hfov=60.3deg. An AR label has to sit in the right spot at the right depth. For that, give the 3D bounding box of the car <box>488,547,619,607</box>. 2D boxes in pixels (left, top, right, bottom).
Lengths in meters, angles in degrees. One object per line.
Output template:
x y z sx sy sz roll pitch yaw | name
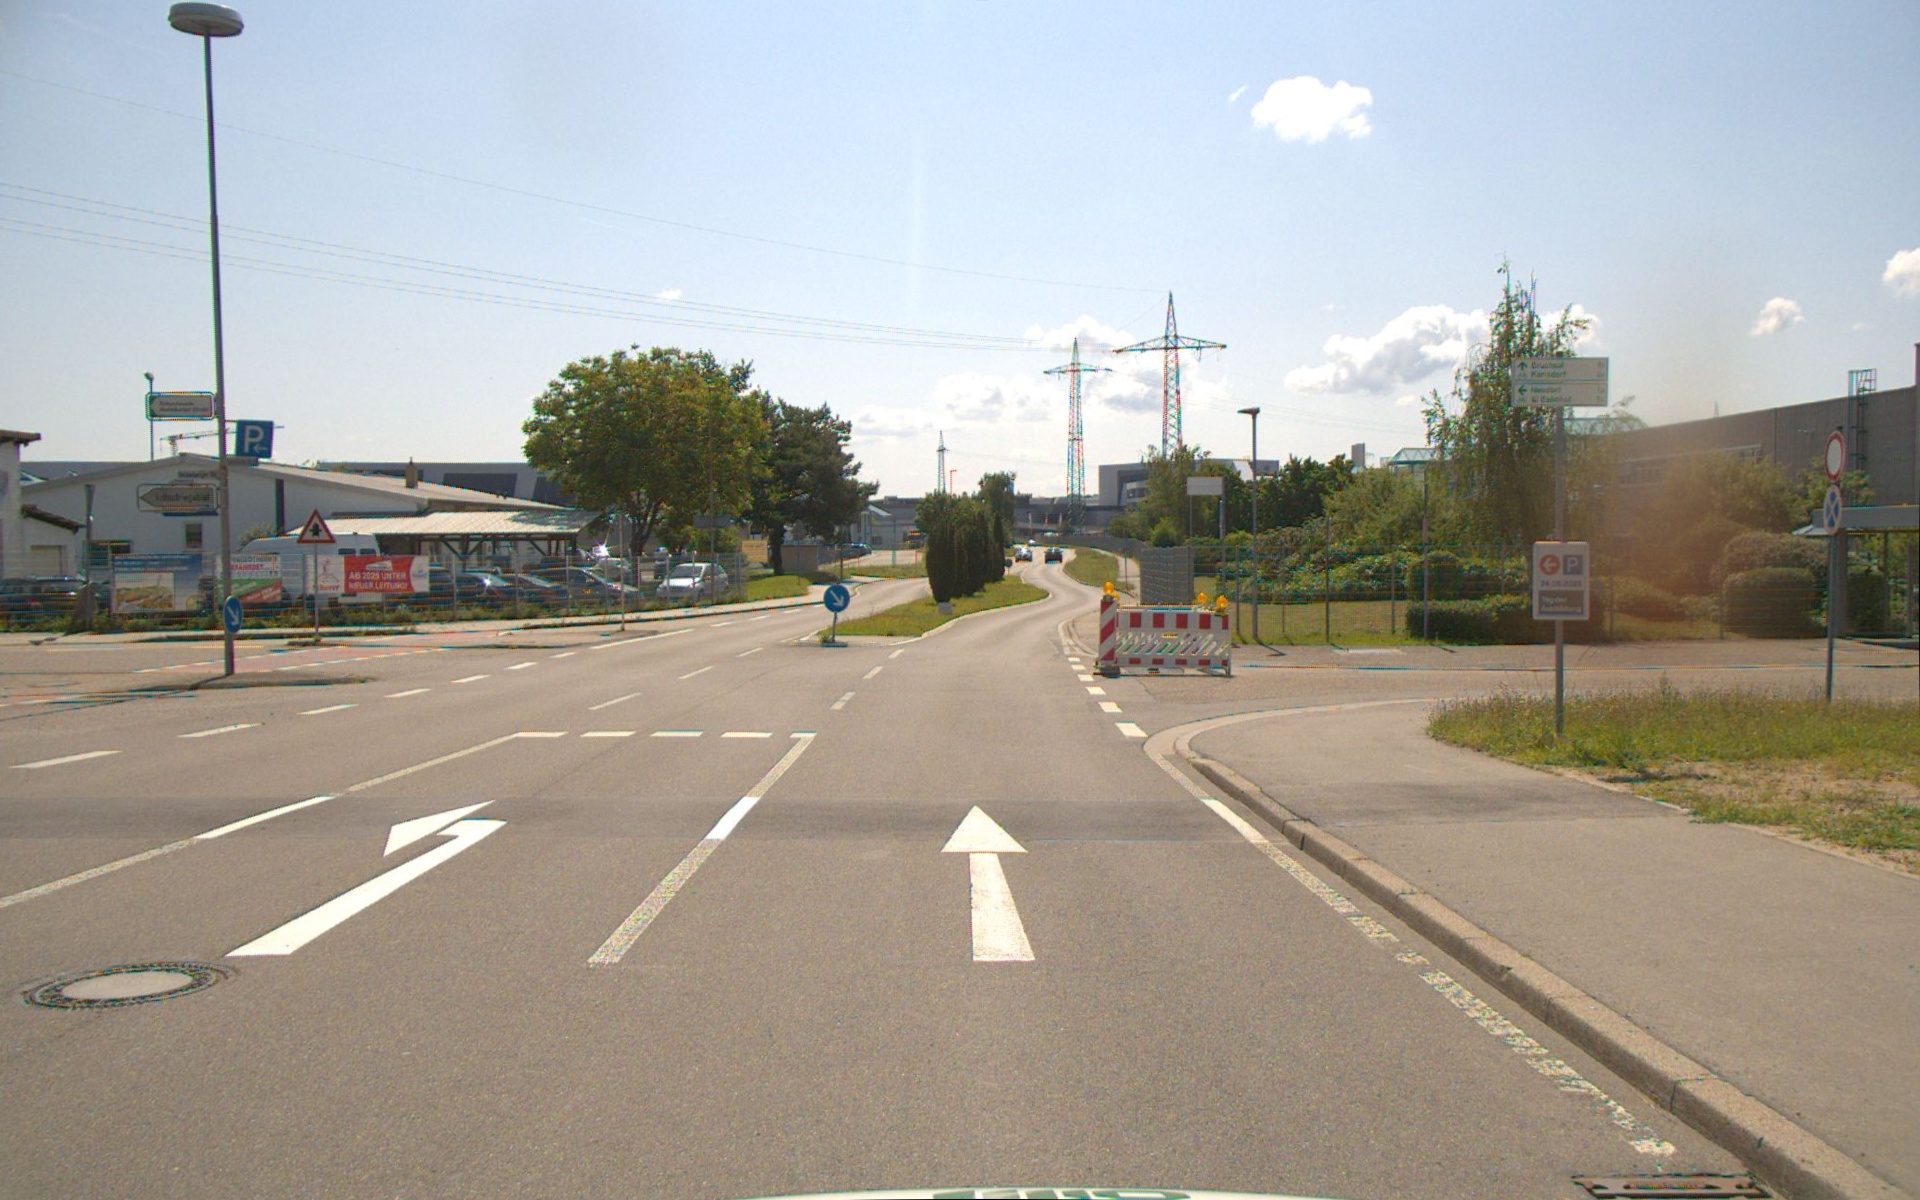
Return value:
-13.847 -0.817 56.323 3.906 1.936 2.000 1 3 23 | car

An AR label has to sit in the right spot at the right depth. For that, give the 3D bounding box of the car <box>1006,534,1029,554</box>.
6.352 -6.195 182.144 2.439 2.048 4.668 0 3 2 | car

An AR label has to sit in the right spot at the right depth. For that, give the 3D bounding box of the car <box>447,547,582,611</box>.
-14.608 -0.718 54.237 3.909 1.936 1.999 2 3 26 | car

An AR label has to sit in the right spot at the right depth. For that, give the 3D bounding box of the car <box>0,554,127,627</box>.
-23.147 -0.274 41.706 3.913 1.682 1.997 2 3 30 | car

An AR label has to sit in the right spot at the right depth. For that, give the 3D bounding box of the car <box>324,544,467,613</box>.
-16.902 -0.683 49.475 3.914 1.936 1.996 2 3 31 | car

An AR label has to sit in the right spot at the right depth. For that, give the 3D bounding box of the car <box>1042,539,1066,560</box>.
9.649 -5.139 169.822 2.225 1.980 4.666 3 1 1 | car

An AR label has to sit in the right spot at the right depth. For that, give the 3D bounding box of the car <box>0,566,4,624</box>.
-25.401 -0.126 40.269 3.912 1.400 1.996 0 1 30 | car

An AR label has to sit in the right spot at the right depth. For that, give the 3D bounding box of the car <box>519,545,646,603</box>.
-13.335 -0.945 58.472 3.905 1.936 2.001 1 3 20 | car

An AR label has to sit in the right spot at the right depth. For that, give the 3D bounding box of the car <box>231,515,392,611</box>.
-18.607 -1.031 47.463 4.267 2.654 1.998 0 1 28 | car

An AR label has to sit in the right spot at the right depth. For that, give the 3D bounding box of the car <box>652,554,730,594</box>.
-10.629 -1.041 65.550 1.789 1.544 3.592 0 1 13 | car

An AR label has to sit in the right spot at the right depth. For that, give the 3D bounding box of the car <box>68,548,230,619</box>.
-21.379 -0.469 43.601 3.913 1.708 1.997 2 3 30 | car

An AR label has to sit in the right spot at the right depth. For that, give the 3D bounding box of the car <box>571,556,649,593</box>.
-18.109 -1.343 85.725 3.917 1.882 1.829 -1 1 -12 | car

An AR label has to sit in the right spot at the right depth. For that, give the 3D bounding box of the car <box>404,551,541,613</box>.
-15.312 -0.605 51.949 3.914 1.811 1.996 2 3 31 | car

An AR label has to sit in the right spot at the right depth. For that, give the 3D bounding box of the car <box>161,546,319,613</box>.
-19.701 -0.602 45.269 3.911 1.682 1.997 2 3 28 | car
